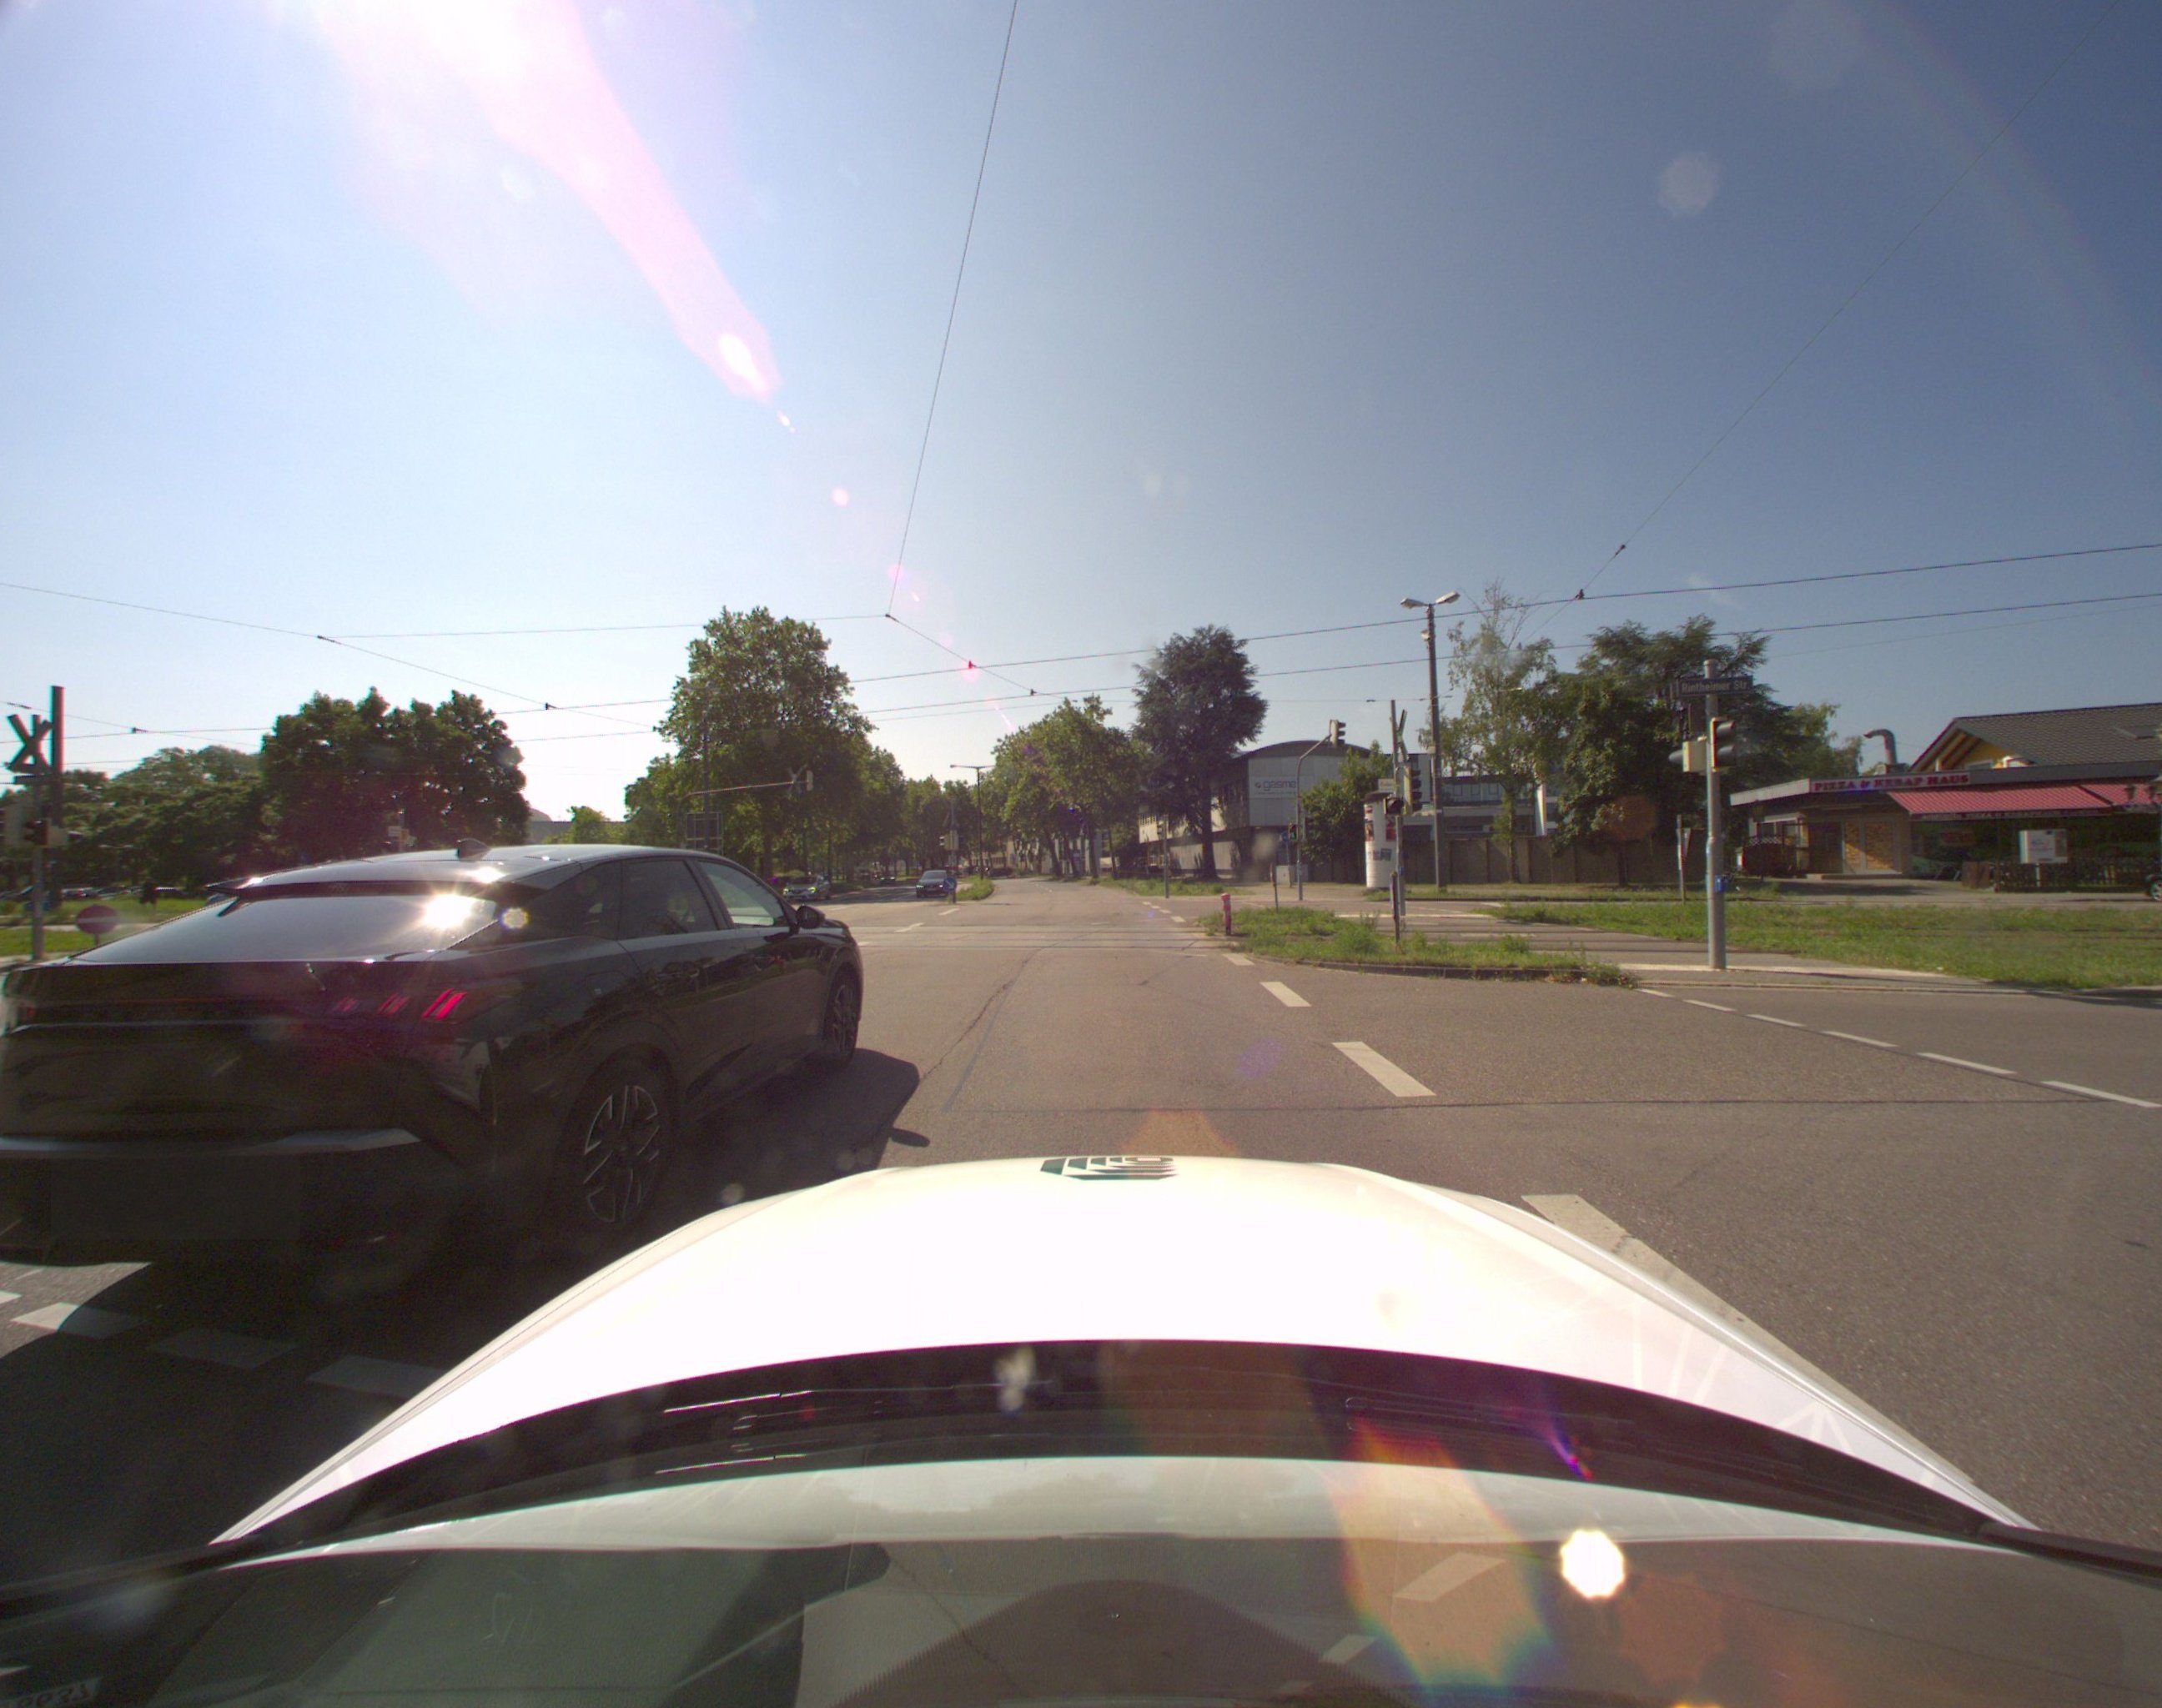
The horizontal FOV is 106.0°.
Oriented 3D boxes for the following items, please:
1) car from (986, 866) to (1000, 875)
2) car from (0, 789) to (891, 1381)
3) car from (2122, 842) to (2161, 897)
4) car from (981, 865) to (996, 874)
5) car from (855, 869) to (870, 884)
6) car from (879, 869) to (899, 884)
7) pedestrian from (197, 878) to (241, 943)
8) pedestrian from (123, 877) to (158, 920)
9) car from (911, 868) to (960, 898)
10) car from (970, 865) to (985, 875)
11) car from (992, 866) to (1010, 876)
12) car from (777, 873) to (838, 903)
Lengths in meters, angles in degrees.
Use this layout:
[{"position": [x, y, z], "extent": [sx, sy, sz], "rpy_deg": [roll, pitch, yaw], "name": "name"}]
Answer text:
[{"position": [-15.114, 2.865, 139.952], "extent": [1.711, 1.488, 4.077], "rpy_deg": [-2, -1, -16], "name": "car"}, {"position": [-2.656, 0.700, 4.600], "extent": [1.864, 1.696, 4.439], "rpy_deg": [-1, -1, 3], "name": "car"}, {"position": [29.609, 0.347, 20.216], "extent": [2.118, 1.499, 5.142], "rpy_deg": [-2, -2, 18], "name": "car"}, {"position": [-16.503, 2.751, 145.257], "extent": [1.711, 1.455, 4.629], "rpy_deg": [-2, -1, -16], "name": "car"}, {"position": [-41.580, 4.258, 154.937], "extent": [2.067, 2.613, 7.168], "rpy_deg": [-2, -1, -20], "name": "car"}, {"position": [-22.483, 2.640, 95.601], "extent": [1.707, 1.589, 4.423], "rpy_deg": [-3, 0, -6], "name": "car"}, {"position": [-21.335, 1.394, 20.161], "extent": [0.361, 1.561, 0.673], "rpy_deg": [-2, -1, 28], "name": "pedestrian"}, {"position": [-45.020, 2.129, 38.988], "extent": [0.795, 2.014, 0.708], "rpy_deg": [-1, -1, -17], "name": "pedestrian"}, {"position": [-7.850, 1.525, 44.284], "extent": [1.686, 1.508, 4.133], "rpy_deg": [-2, -1, 4], "name": "car"}, {"position": [-19.946, 3.076, 156.733], "extent": [1.713, 1.669, 4.500], "rpy_deg": [-2, -1, -21], "name": "car"}, {"position": [-13.274, 2.833, 134.849], "extent": [1.713, 1.487, 4.686], "rpy_deg": [-3, 0, -20], "name": "car"}, {"position": [-15.046, 1.840, 45.030], "extent": [1.688, 1.508, 4.662], "rpy_deg": [-2, -1, 1], "name": "car"}]
